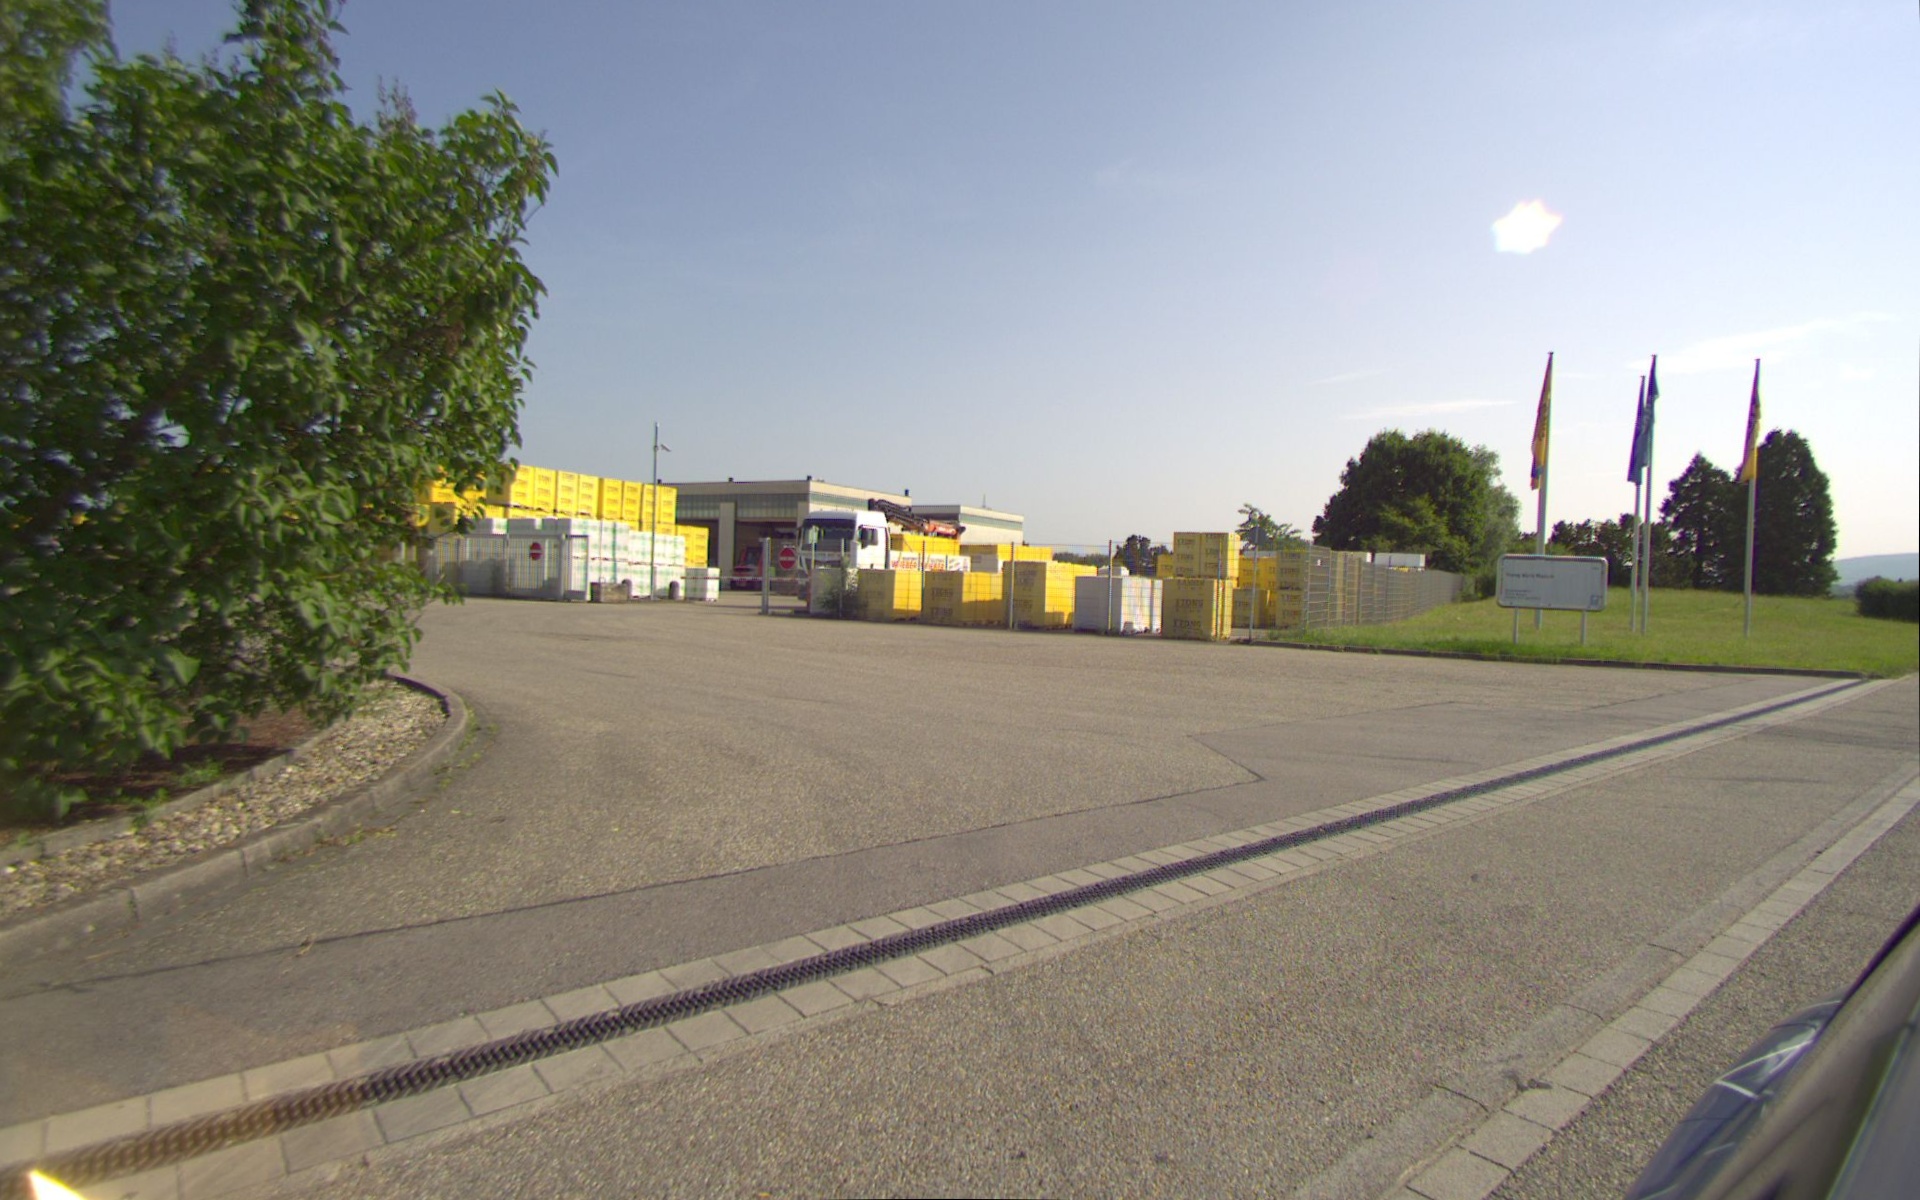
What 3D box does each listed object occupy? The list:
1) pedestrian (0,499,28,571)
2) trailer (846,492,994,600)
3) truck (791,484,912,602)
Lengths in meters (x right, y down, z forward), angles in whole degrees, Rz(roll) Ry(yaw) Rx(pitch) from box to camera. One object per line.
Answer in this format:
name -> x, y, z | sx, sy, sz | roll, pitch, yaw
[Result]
pedestrian -> -27.964, -1.862, 29.309 | 1.137, 2.039, 0.984 | -1, 0, -20
trailer -> -1.398, -2.034, 40.659 | 2.462, 3.924, 7.726 | 0, 1, 28
truck -> -3.810, -1.941, 36.049 | 2.522, 3.924, 3.962 | 0, 1, 28
